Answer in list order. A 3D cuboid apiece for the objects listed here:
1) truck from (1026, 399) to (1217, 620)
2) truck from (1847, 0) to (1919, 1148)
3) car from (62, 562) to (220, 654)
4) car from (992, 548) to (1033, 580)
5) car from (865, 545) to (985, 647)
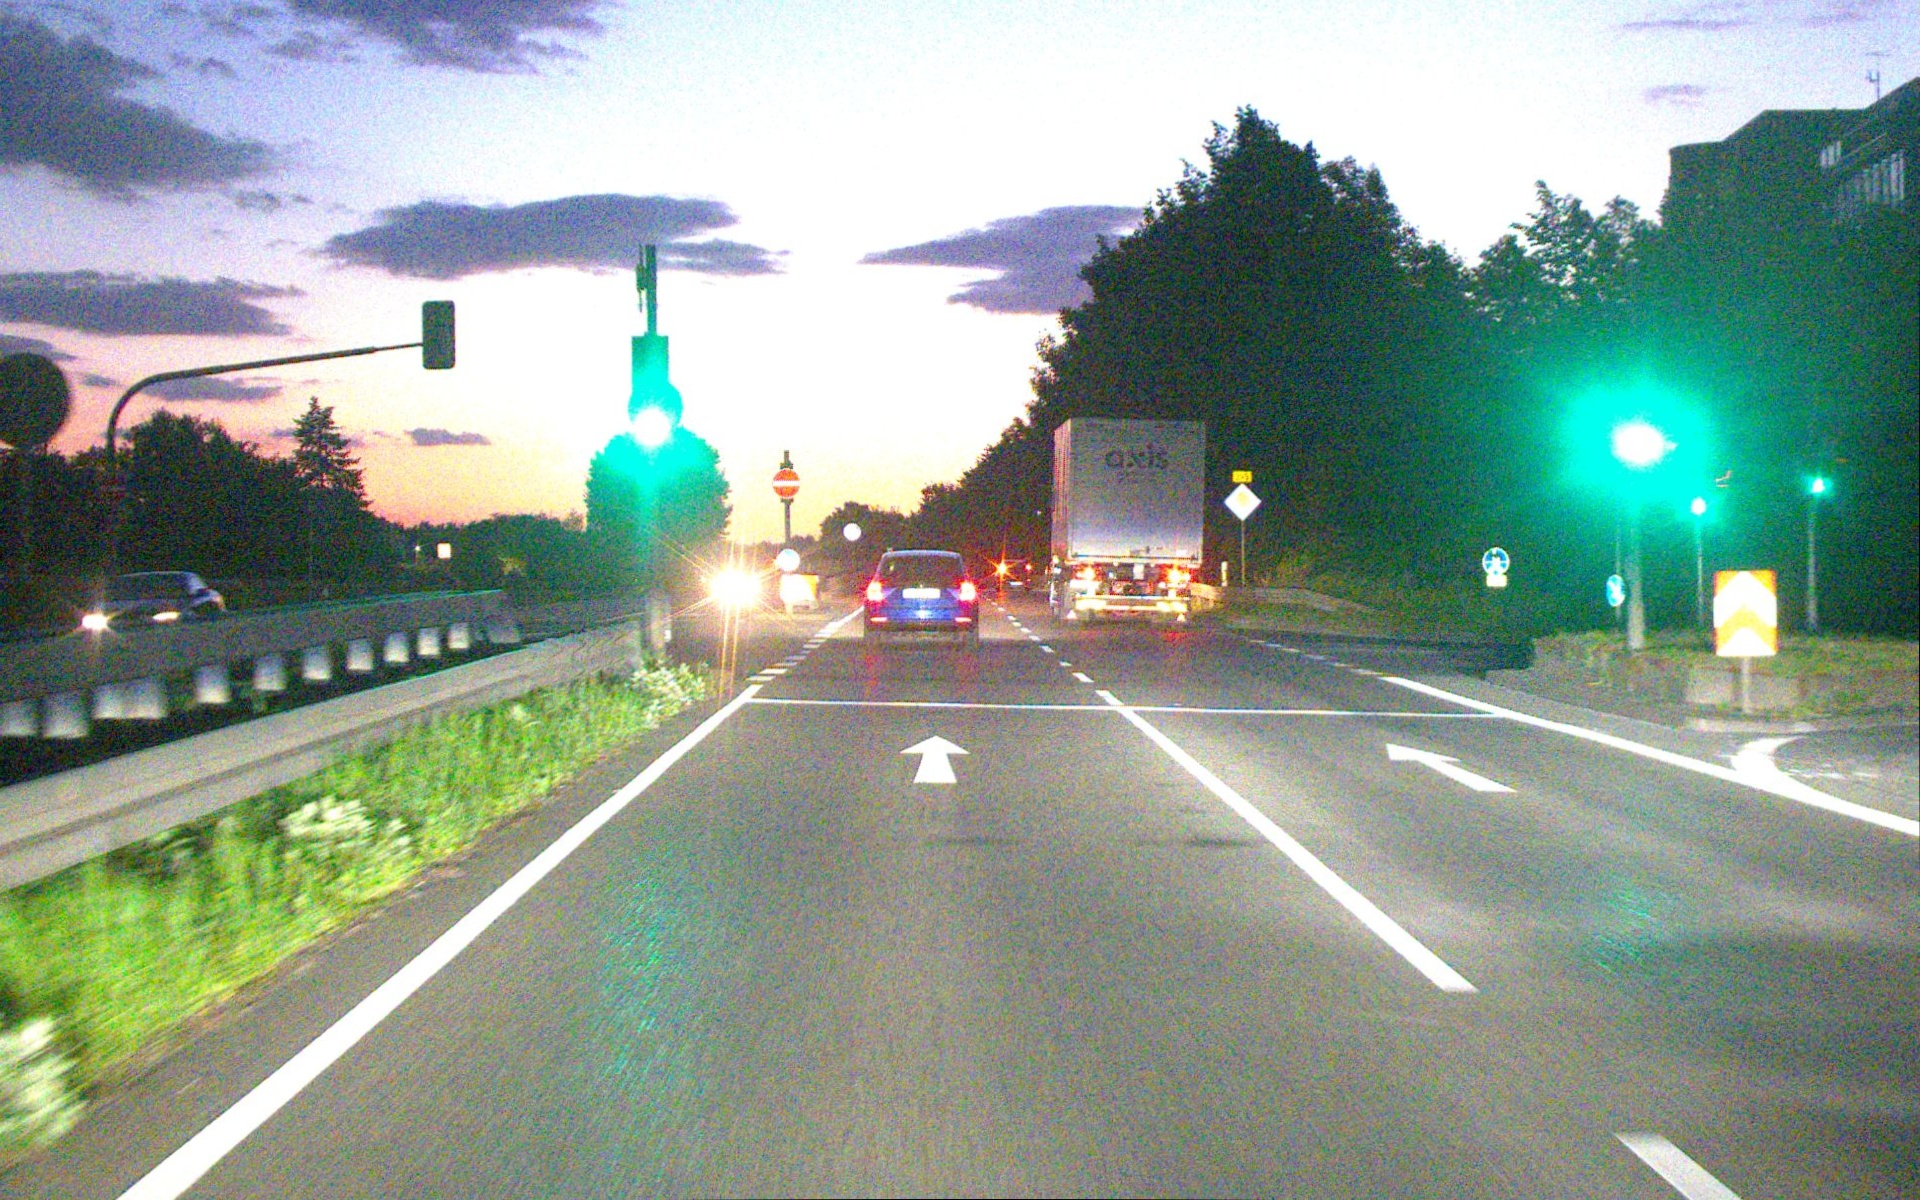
[{"bbox_3d":[3.141,-1.799,70.662,2.883,4.092,12.685,1,1,-2],"label":"truck"},{"bbox_3d":[3.859,-0.550,2.785,2.687,4.092,13.142,1,1,-1],"label":"truck"},{"bbox_3d":[-12.838,0.099,54.058,1.605,1.325,3.940,-2,1,-2],"label":"car"},{"bbox_3d":[2.453,-1.710,161.513,1.695,1.447,3.915,1,1,-2],"label":"car"},{"bbox_3d":[-0.557,-0.092,51.529,1.695,1.447,3.915,1,1,-2],"label":"car"}]
